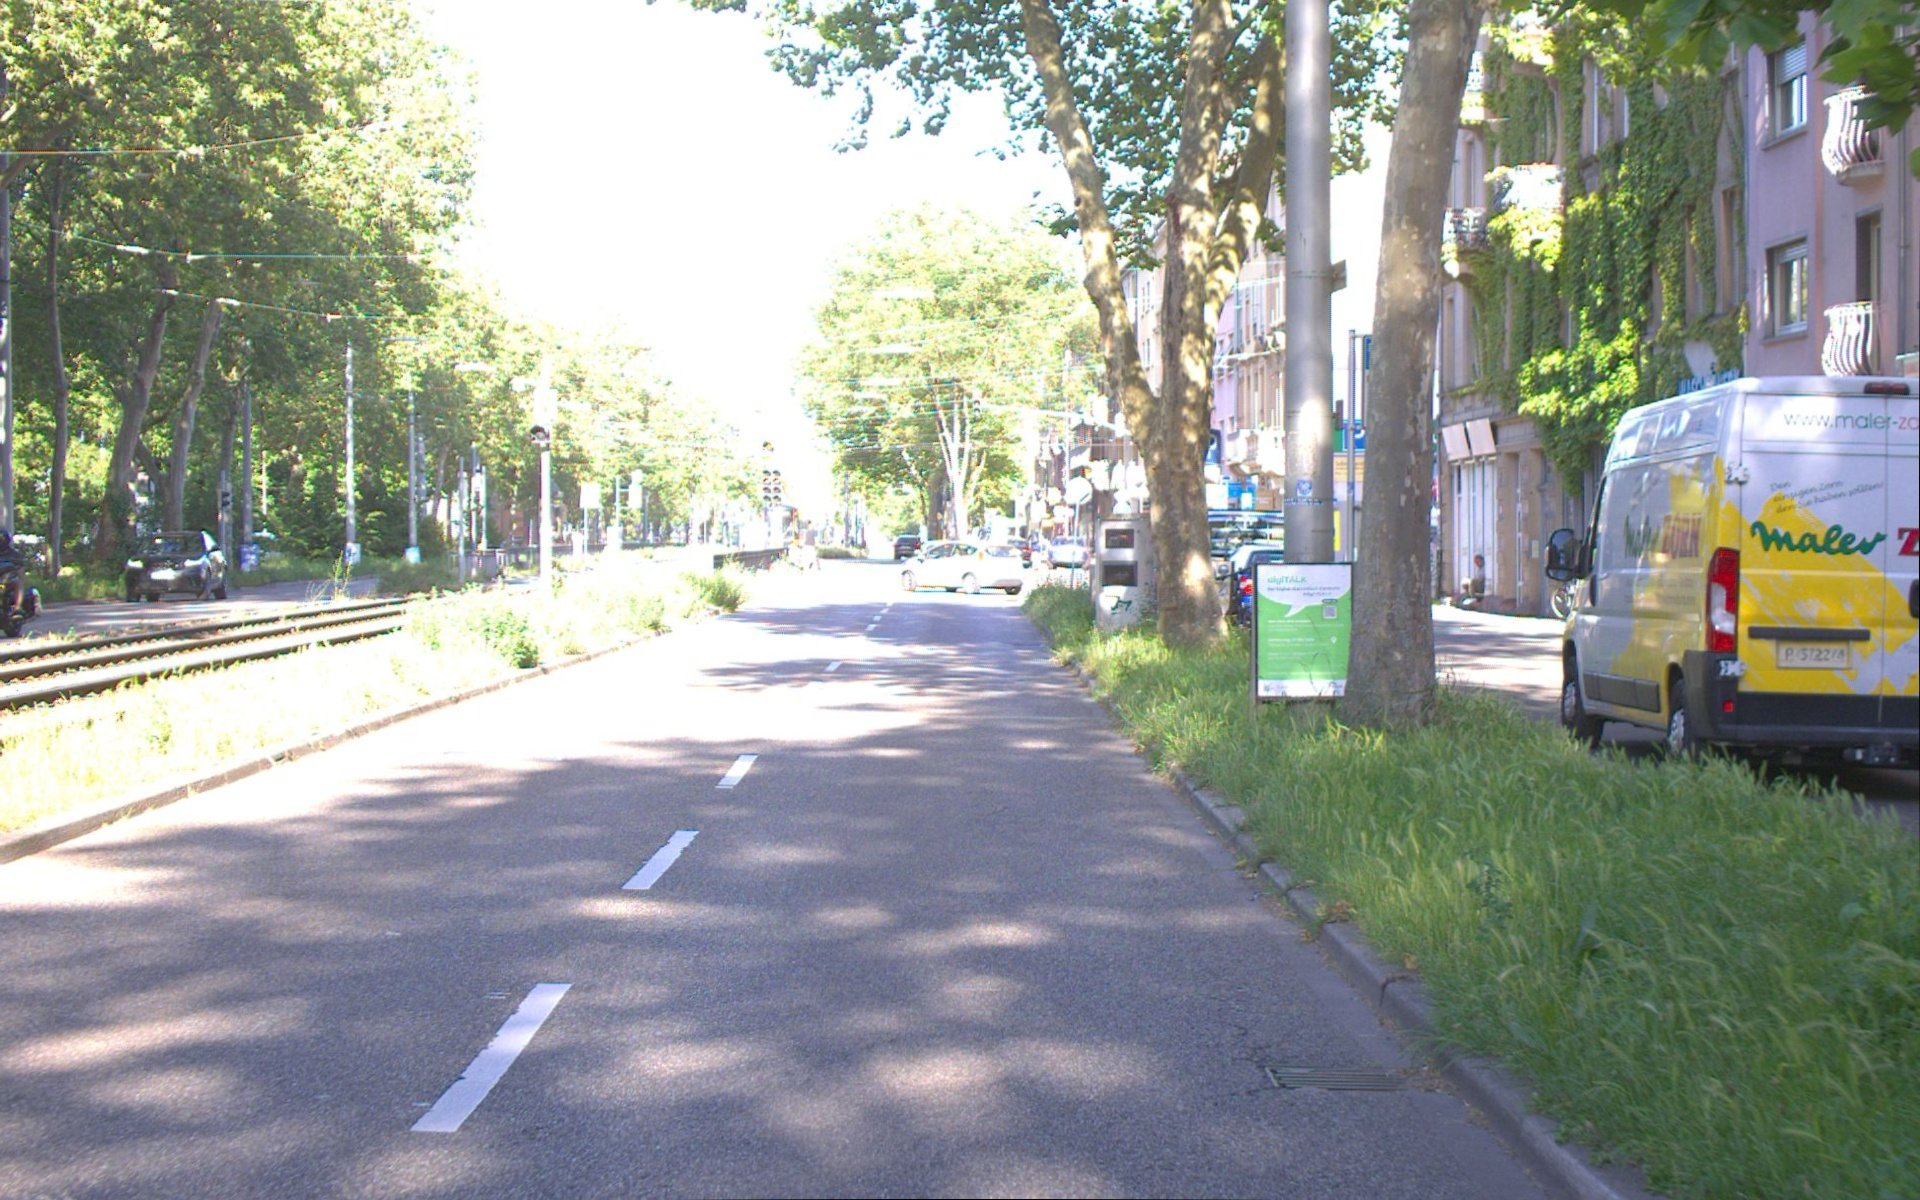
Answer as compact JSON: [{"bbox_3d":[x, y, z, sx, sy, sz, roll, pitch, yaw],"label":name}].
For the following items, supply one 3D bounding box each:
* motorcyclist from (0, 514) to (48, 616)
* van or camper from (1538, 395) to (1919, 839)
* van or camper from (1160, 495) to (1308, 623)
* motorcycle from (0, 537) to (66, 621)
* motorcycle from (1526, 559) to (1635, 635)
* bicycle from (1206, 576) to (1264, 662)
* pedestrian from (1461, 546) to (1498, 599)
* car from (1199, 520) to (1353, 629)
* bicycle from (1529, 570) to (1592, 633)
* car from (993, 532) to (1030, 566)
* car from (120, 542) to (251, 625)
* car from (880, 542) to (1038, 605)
[{"bbox_3d":[-14.220,-0.523,51.327,0.944,1.508,0.959,0,1,-1],"label":"motorcyclist"},{"bbox_3d":[5.407,0.084,22.687,2.184,2.472,6.268,2,1,1],"label":"van or camper"},{"bbox_3d":[4.394,-0.667,55.774,1.839,1.956,5.127,1,1,-1],"label":"van or camper"},{"bbox_3d":[-14.229,-0.330,51.227,0.964,1.208,3.351,0,1,-1],"label":"motorcycle"},{"bbox_3d":[11.125,-0.052,61.707,0.557,1.264,1.894,3,1,-45],"label":"motorcycle"},{"bbox_3d":[3.254,0.213,40.731,0.588,0.987,1.450,0,1,1],"label":"bicycle"},{"bbox_3d":[11.381,-0.607,75.313,0.707,1.147,0.740,0,0,0],"label":"pedestrian"},{"bbox_3d":[4.608,-0.385,50.557,1.683,1.508,3.668,1,1,-3],"label":"car"},{"bbox_3d":[11.194,0.018,64.131,0.887,1.130,2.398,0,1,3],"label":"bicycle"},{"bbox_3d":[2.381,-2.345,159.123,1.683,1.504,3.667,1,1,1],"label":"car"},{"bbox_3d":[-18.502,-0.423,82.320,1.993,1.864,4.873,-1,1,0],"label":"car"},{"bbox_3d":[-0.038,-0.720,92.543,3.997,1.656,2.023,1,1,45],"label":"car"}]
